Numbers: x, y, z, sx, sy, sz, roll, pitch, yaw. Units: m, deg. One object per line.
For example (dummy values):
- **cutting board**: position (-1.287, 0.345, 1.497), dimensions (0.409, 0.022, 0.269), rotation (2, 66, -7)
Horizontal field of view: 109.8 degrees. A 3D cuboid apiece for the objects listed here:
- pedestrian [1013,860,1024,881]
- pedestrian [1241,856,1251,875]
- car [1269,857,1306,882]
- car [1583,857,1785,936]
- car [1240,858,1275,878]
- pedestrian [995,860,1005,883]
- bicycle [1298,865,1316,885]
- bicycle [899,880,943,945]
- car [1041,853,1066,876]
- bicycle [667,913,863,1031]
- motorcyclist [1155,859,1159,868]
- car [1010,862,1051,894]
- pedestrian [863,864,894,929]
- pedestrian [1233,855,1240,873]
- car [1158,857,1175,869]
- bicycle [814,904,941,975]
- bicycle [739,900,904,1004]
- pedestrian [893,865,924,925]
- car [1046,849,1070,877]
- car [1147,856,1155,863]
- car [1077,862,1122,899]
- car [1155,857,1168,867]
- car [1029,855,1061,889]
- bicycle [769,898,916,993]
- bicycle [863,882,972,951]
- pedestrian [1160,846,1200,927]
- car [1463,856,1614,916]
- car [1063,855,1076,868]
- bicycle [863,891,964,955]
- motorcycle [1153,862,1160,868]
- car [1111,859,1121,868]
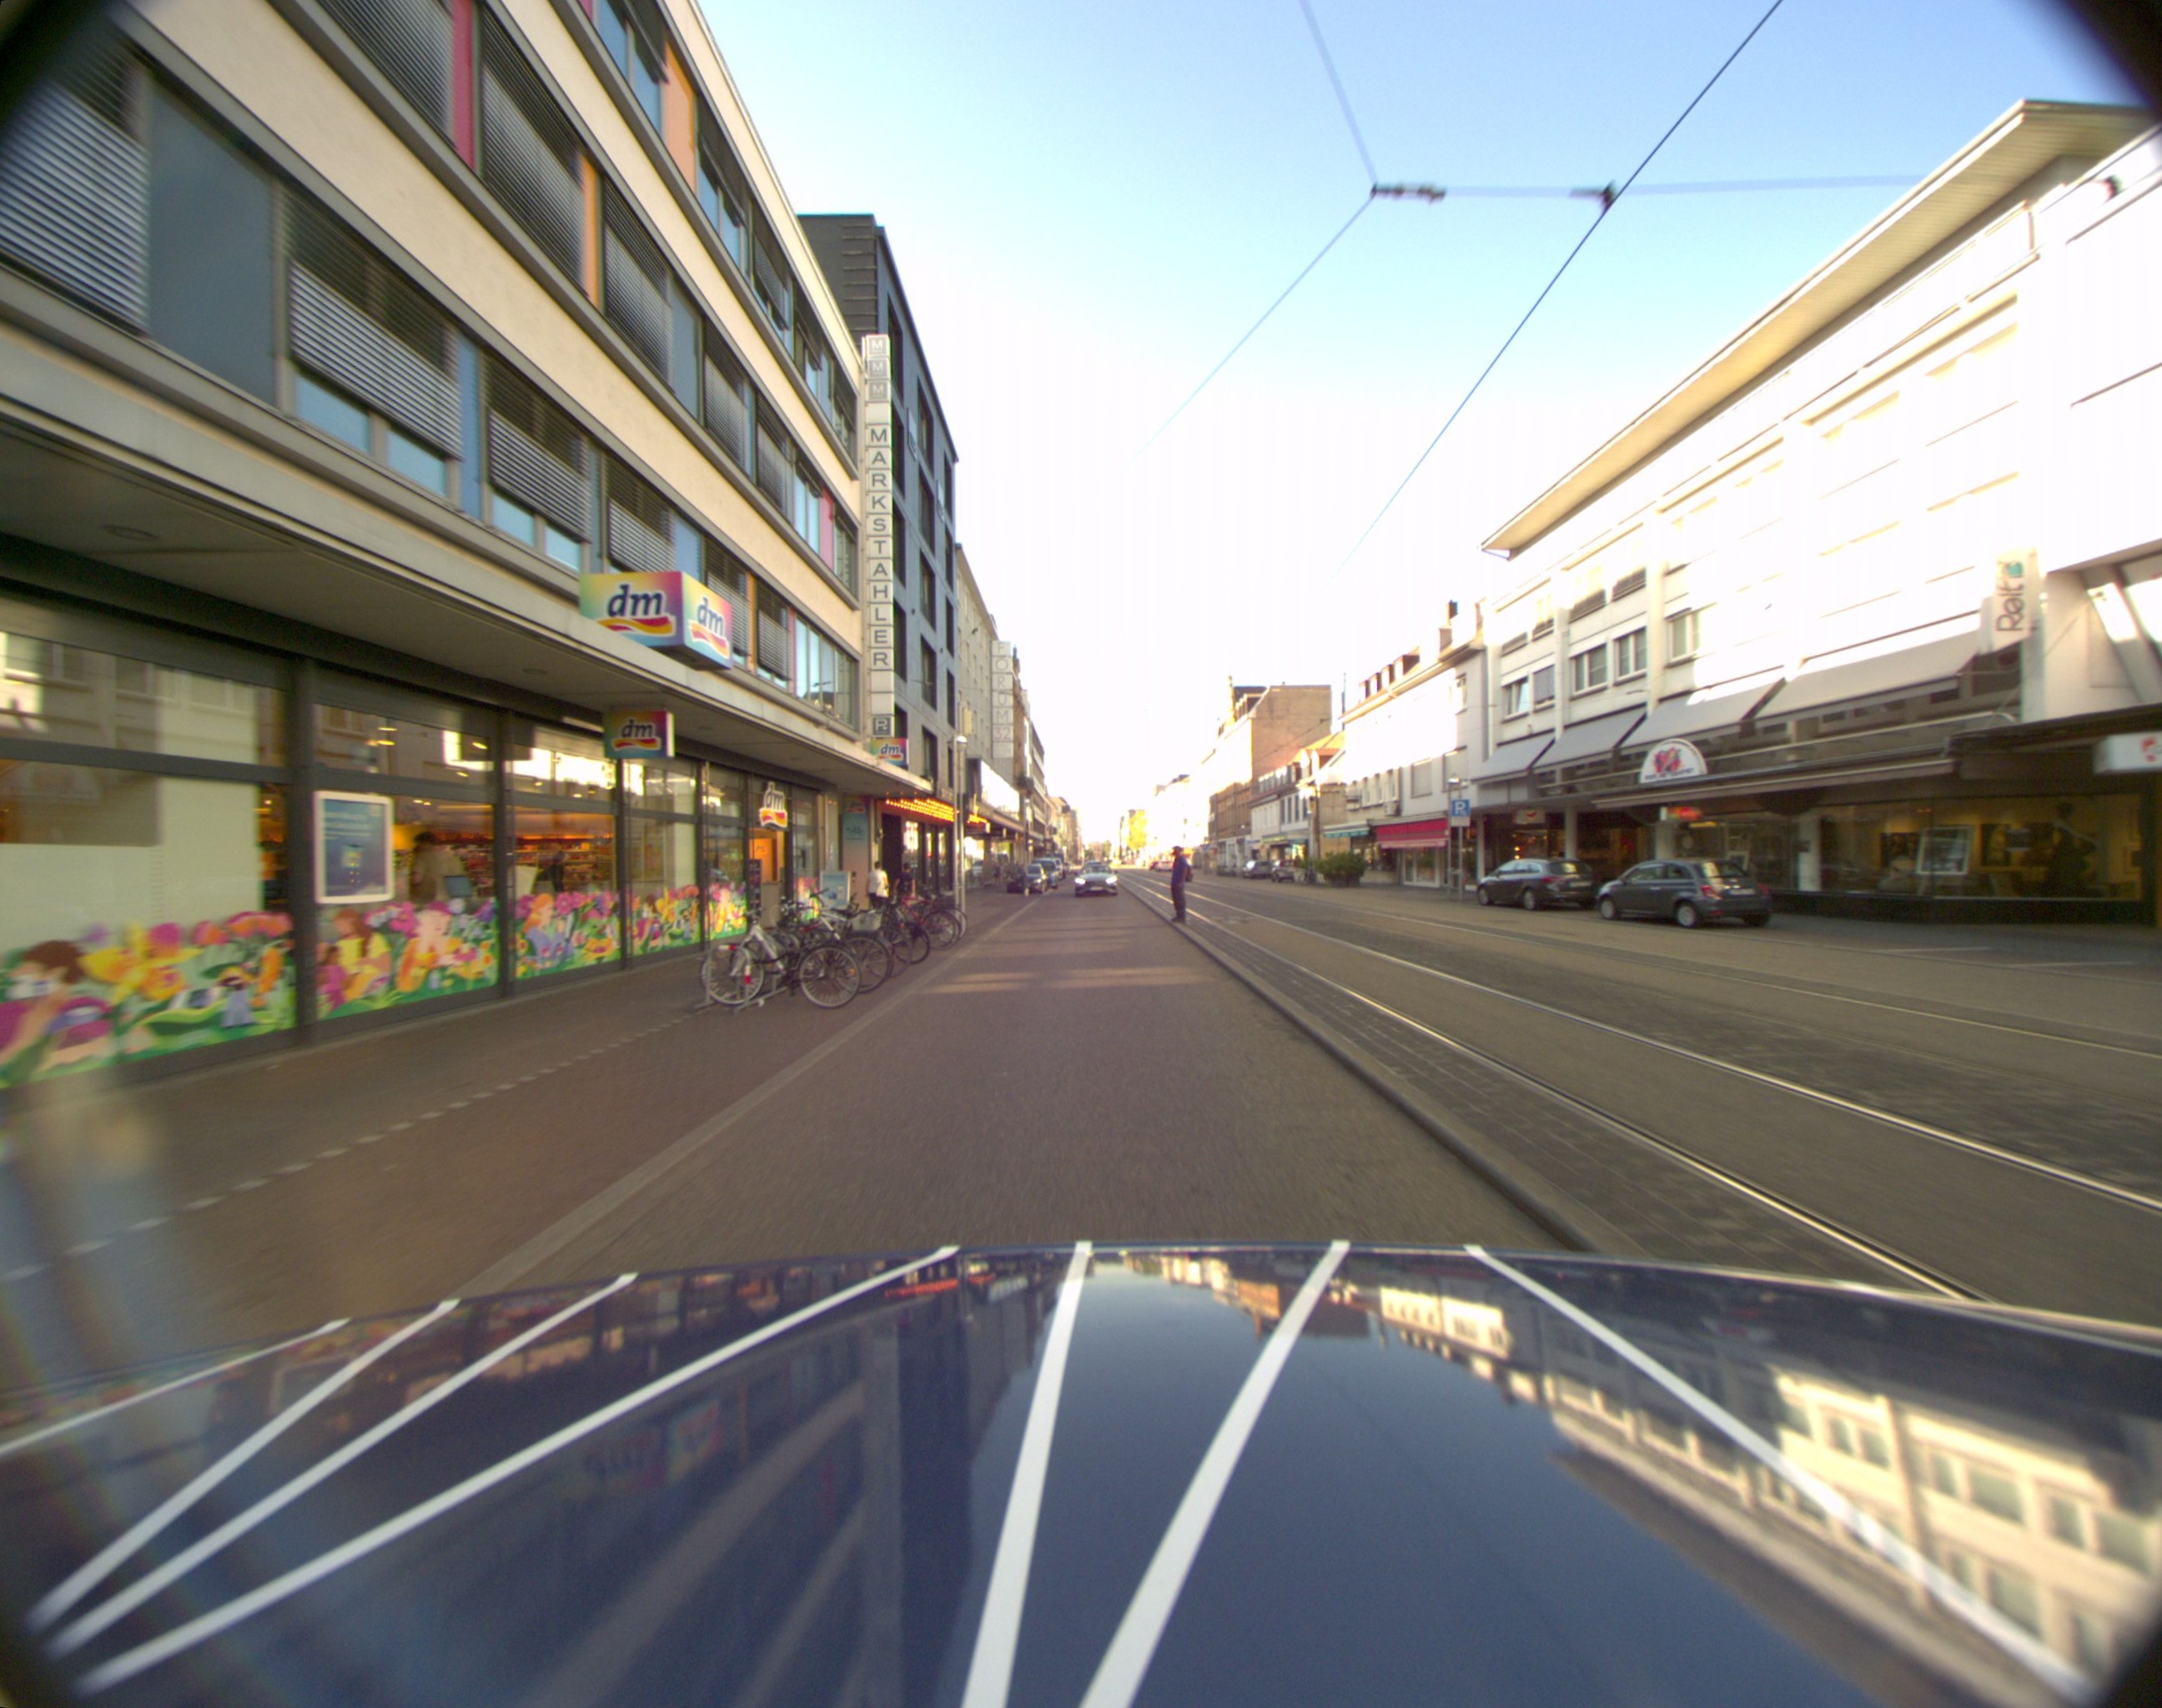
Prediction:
- **pedestrian**: position (-4.560, 1.196, 55.503), dimensions (0.697, 1.499, 0.814), rotation (-1, 0, 1)
- **pedestrian**: position (15.364, 1.078, 70.663), dimensions (0.658, 1.752, 0.581), rotation (-3, 1, -7)
- **car**: position (14.081, 1.050, 51.879), dimensions (1.701, 1.594, 2.891), rotation (-2, 0, 1)
- **car**: position (13.424, 0.874, 17.206), dimensions (1.605, 1.514, 3.589), rotation (-3, 0, -2)
- **car**: position (14.149, 1.076, 61.152), dimensions (1.822, 1.505, 4.763), rotation (-2, 0, 1)
- **pedestrian**: position (-5.159, 1.137, 48.417), dimensions (0.577, 1.431, 0.731), rotation (1, 1, 1)
- **bicycle**: position (13.297, 1.244, 44.774), dimensions (0.519, 1.084, 1.716), rotation (-3, 0, 1)
- **bicycle**: position (-3.347, 1.196, 15.991), dimensions (0.583, 1.250, 1.602), rotation (1, 0, -1)
- **car**: position (-2.381, 0.899, 65.683), dimensions (2.051, 1.899, 4.878), rotation (0, 0, -2)
- **bicycle**: position (-3.308, 1.221, 8.050), dimensions (1.792, 1.152, 0.669), rotation (0, 0, 0)
- **motorcyclist**: position (11.327, 1.422, 113.739), dimensions (0.540, 1.295, 0.655), rotation (1, 1, 1)
- **car**: position (-2.534, 1.165, 38.905), dimensions (1.726, 1.476, 4.416), rotation (1, 0, 1)
- **pedestrian**: position (-5.021, 1.038, 18.859), dimensions (0.583, 1.576, 0.598), rotation (1, 1, -1)
- **pedestrian**: position (15.511, 1.006, 75.960), dimensions (0.581, 1.795, 0.659), rotation (-3, 1, 13)
- **car**: position (11.470, 1.180, 102.112), dimensions (1.802, 1.625, 3.676), rotation (0, 0, 1)
- **bicycle**: position (-3.110, 1.305, 11.699), dimensions (1.778, 1.026, 0.597), rotation (0, 0, 0)
- **bicycle**: position (-3.165, 1.186, 9.373), dimensions (1.792, 1.210, 0.669), rotation (0, 0, 0)
- **pedestrian**: position (-4.344, 1.020, 19.174), dimensions (0.584, 1.485, 0.523), rotation (1, 1, -35)
- **car**: position (-2.151, 0.925, 72.551), dimensions (2.051, 2.485, 5.687), rotation (-3, -2, 0)
- **car**: position (16.635, 1.335, 181.853), dimensions (1.630, 1.524, 3.464), rotation (1, 0, 1)
- **car**: position (0.782, 1.131, 33.992), dimensions (1.858, 1.463, 4.786), rotation (-1, 0, 0)
- **car**: position (12.484, 1.207, 118.695), dimensions (1.667, 1.521, 4.000), rotation (0, 0, 1)
- **car**: position (-2.126, 1.023, 45.142), dimensions (1.821, 1.849, 4.549), rotation (0, 0, -3)
- **bicycle**: position (-3.180, 1.212, 10.228), dimensions (1.792, 1.210, 0.587), rotation (0, 0, 0)
- **bicycle**: position (-3.161, 1.202, 14.808), dimensions (2.043, 1.267, 0.524), rotation (0, 0, -9)
- **pedestrian**: position (2.287, 0.726, 17.583), dimensions (0.806, 1.827, 0.746), rotation (1, 1, -1)
- **car**: position (13.751, 0.889, 23.223), dimensions (1.741, 1.514, 4.852), rotation (-3, 0, 2)
- **car**: position (-1.494, 0.968, 100.640), dimensions (1.630, 1.543, 3.509), rotation (1, 0, 1)
- **bicycle**: position (-3.067, 1.264, 14.016), dimensions (1.778, 1.124, 0.478), rotation (0, 0, -4)
- **motorcycle**: position (11.335, 1.632, 113.681), dimensions (0.907, 0.987, 1.935), rotation (0, 0, 1)
- **car**: position (7.715, 2.075, 168.129), dimensions (1.998, 2.002, 4.000), rotation (-3, 0, 2)
